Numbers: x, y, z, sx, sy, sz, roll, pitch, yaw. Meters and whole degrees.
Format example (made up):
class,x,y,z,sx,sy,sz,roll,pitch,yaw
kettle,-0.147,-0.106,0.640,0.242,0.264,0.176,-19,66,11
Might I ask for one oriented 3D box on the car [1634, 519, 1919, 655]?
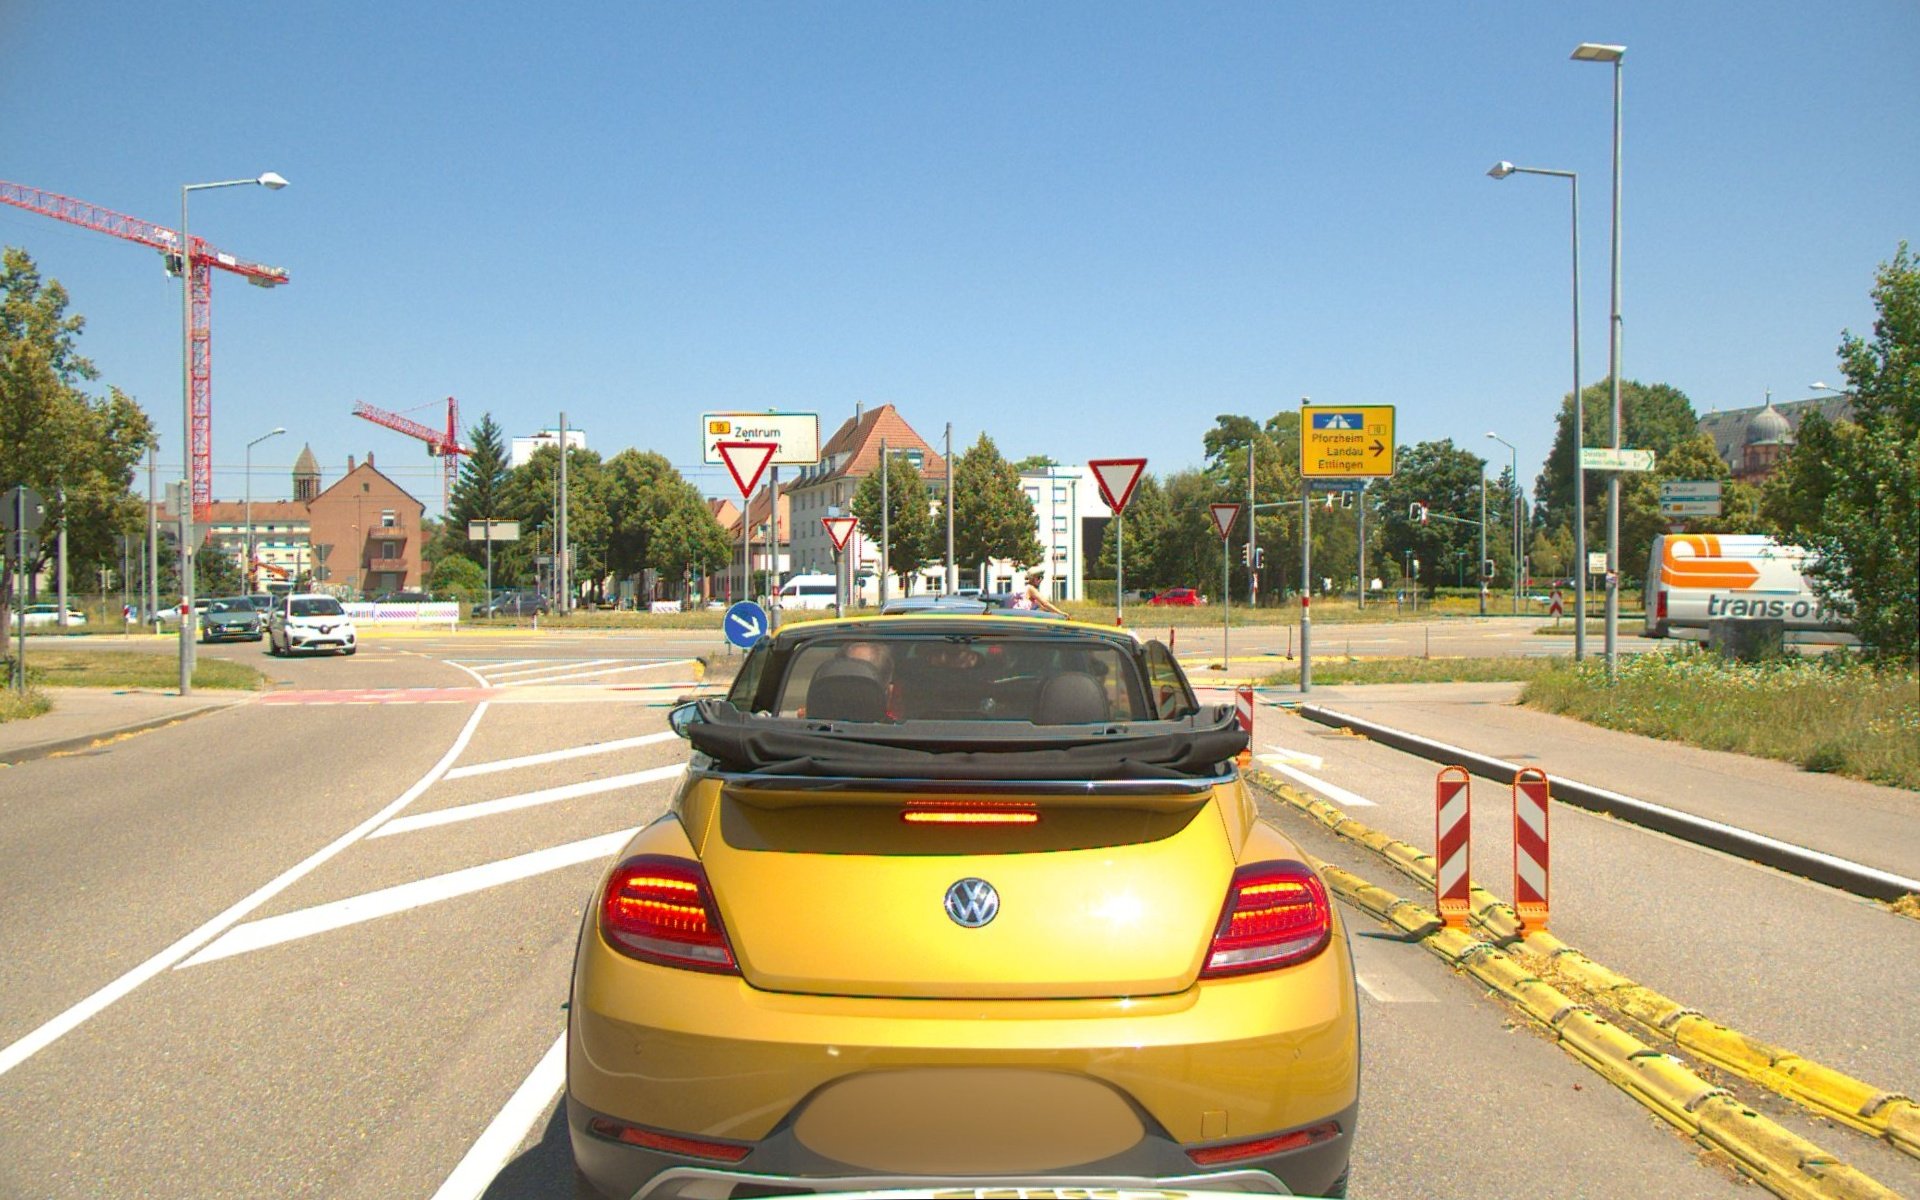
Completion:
class,x,y,z,sx,sy,sz,roll,pitch,yaw
car,18.626,-0.291,36.508,6.716,2.877,2.001,1,0,15

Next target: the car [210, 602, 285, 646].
class,x,y,z,sx,sy,sz,roll,pitch,yaw
car,-24.050,0.797,55.916,1.718,1.395,4.313,1,0,-16

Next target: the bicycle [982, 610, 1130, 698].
class,x,y,z,sx,sy,sz,roll,pitch,yaw
bicycle,1.391,0.774,24.061,2.049,1.242,0.634,-1,0,22

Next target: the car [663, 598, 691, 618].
class,x,y,z,sx,sy,sz,roll,pitch,yaw
car,-25.719,0.698,150.450,1.856,1.803,3.977,1,0,-19

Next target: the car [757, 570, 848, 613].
class,x,y,z,sx,sy,sz,roll,pitch,yaw
car,-9.536,-0.489,99.855,5.219,2.439,1.987,1,0,-13

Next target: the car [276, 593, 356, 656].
class,x,y,z,sx,sy,sz,roll,pitch,yaw
car,-17.027,0.607,43.644,1.753,1.554,3.843,-1,0,-24

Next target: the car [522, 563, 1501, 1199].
class,x,y,z,sx,sy,sz,roll,pitch,yaw
car,0.065,0.711,5.072,1.729,1.507,4.257,1,0,-1

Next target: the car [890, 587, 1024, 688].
class,x,y,z,sx,sy,sz,roll,pitch,yaw
car,-0.075,0.554,27.473,2.023,1.506,4.542,-1,0,-1

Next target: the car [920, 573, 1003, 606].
class,x,y,z,sx,sy,sz,roll,pitch,yaw
car,0.089,-0.687,111.261,5.198,2.107,1.995,1,0,15

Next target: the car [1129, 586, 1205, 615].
class,x,y,z,sx,sy,sz,roll,pitch,yaw
car,12.786,0.013,102.054,4.255,1.683,1.896,1,0,33

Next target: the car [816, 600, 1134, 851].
class,x,y,z,sx,sy,sz,roll,pitch,yaw
car,0.060,0.720,11.631,1.814,1.389,4.257,-1,0,-1

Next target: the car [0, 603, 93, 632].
class,x,y,z,sx,sy,sz,roll,pitch,yaw
car,-46.327,0.864,83.429,4.236,1.395,1.749,1,0,-8

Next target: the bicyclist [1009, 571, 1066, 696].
class,x,y,z,sx,sy,sz,roll,pitch,yaw
bicyclist,1.132,0.481,24.194,0.656,1.783,0.592,-1,1,20

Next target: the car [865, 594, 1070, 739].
class,x,y,z,sx,sy,sz,roll,pitch,yaw
car,0.068,0.668,18.557,2.023,1.406,4.257,1,0,0

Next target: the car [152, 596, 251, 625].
class,x,y,z,sx,sy,sz,roll,pitch,yaw
car,-37.550,0.522,82.003,4.252,1.395,1.742,1,0,-20

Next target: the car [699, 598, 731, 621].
class,x,y,z,sx,sy,sz,roll,pitch,yaw
car,-19.808,0.728,133.686,1.856,1.803,3.977,1,0,-19

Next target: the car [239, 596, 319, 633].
class,x,y,z,sx,sy,sz,roll,pitch,yaw
car,-27.474,0.560,66.844,1.693,1.427,4.267,1,0,-4
